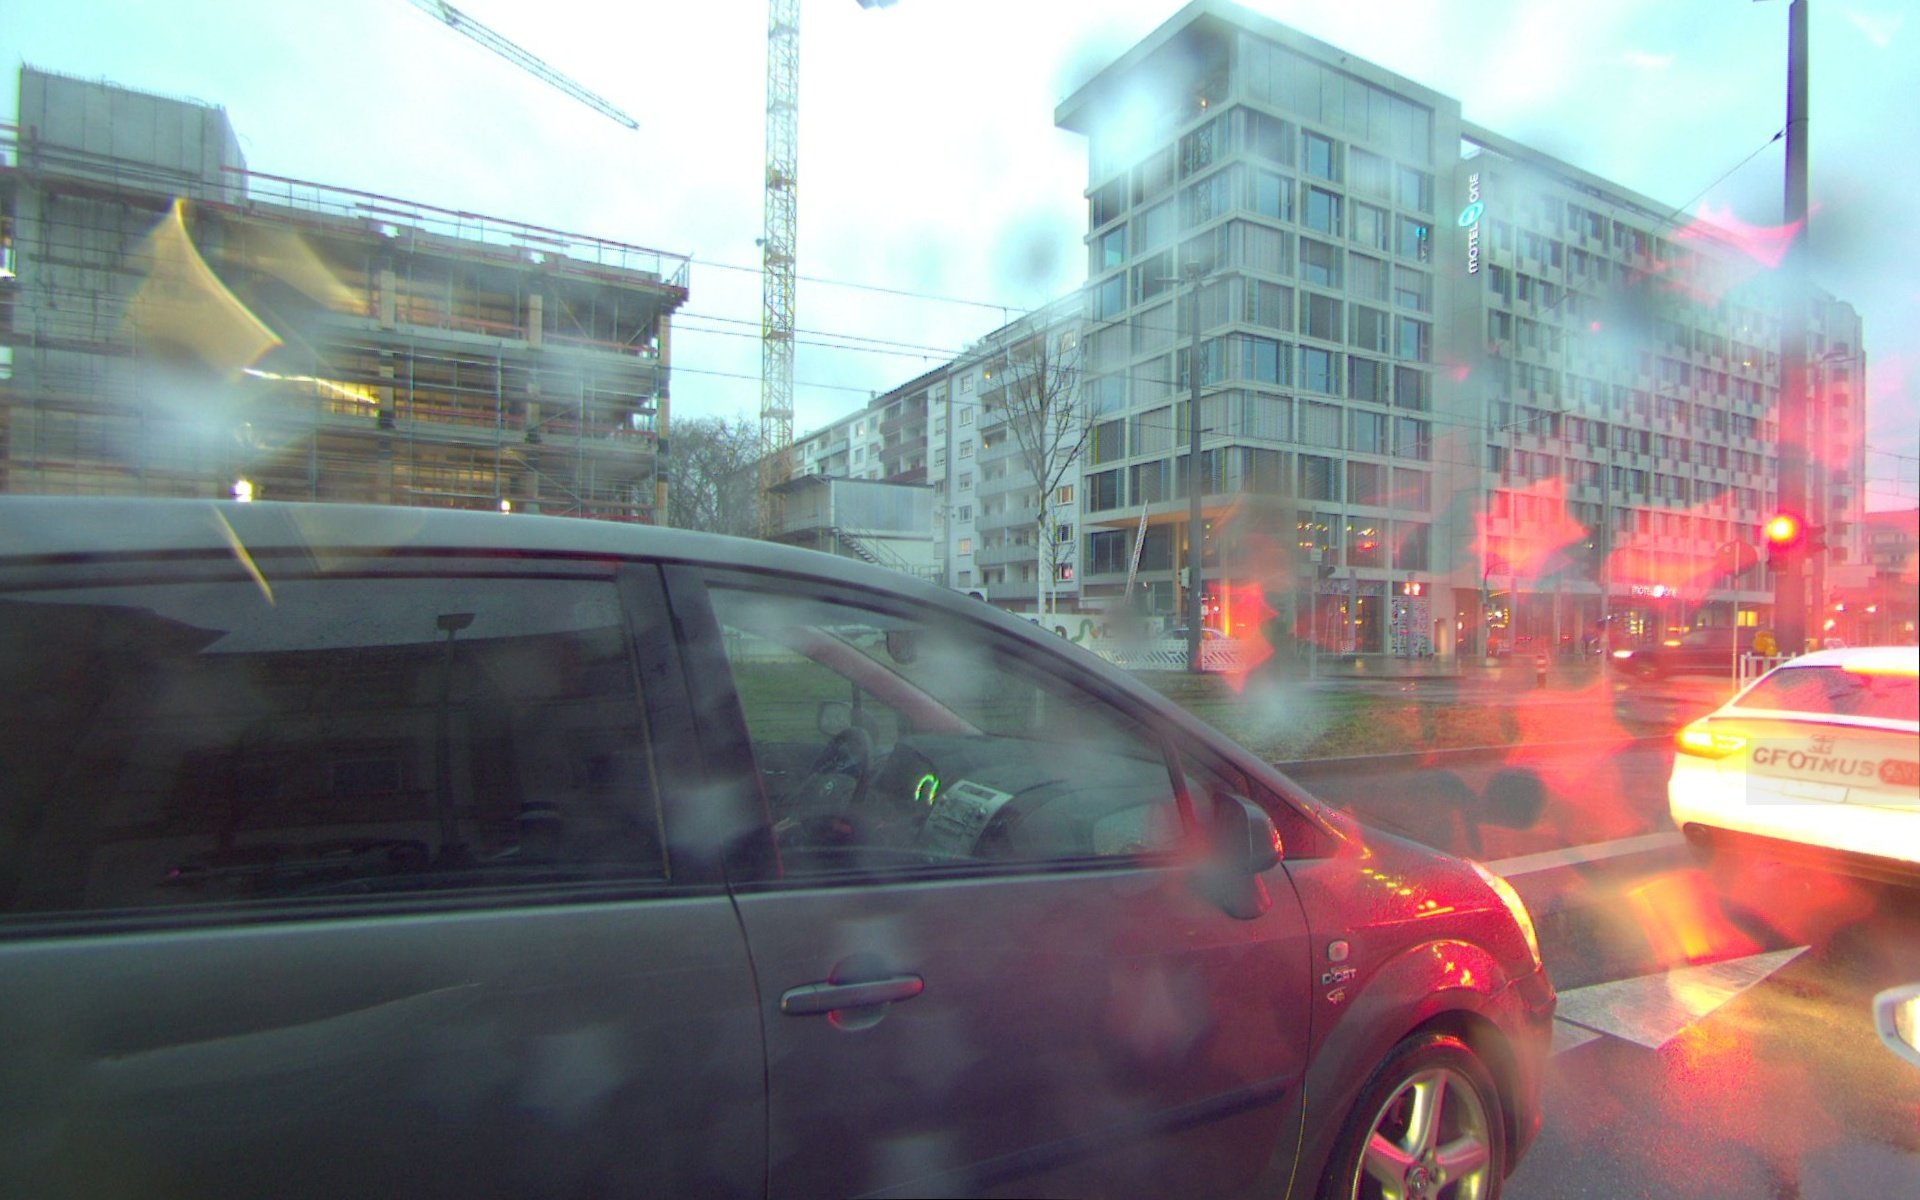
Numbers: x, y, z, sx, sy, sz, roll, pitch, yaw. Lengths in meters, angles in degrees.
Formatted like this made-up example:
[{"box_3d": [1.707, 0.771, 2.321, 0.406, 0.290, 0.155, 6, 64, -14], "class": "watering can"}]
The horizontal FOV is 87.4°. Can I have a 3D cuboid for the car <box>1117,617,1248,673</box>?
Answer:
[{"box_3d": [7.370, 1.471, 33.537, 3.921, 1.644, 1.719, 2, 0, 0], "class": "car"}]

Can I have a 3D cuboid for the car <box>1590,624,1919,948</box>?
[{"box_3d": [6.057, 0.925, 6.225, 4.320, 1.475, 1.983, 1, 0, -32], "class": "car"}]

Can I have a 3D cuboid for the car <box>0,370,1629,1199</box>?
[{"box_3d": [-0.568, 0.649, 2.130, 4.089, 1.668, 1.801, 1, 0, -32], "class": "car"}]

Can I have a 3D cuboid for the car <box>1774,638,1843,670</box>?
[{"box_3d": [44.994, 2.878, 53.257, 3.654, 1.527, 1.666, 3, 0, -31], "class": "car"}]

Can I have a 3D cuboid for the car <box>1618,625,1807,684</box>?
[{"box_3d": [21.528, 1.521, 28.841, 1.825, 1.460, 4.057, 3, -1, -41], "class": "car"}]

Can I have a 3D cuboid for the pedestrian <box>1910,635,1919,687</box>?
[{"box_3d": [32.792, 2.091, 34.045, 0.808, 1.734, 0.782, 2, 0, -45], "class": "pedestrian"}]

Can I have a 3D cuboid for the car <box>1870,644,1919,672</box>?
[{"box_3d": [56.176, 3.457, 59.981, 3.654, 1.527, 1.666, 3, 0, -31], "class": "car"}]

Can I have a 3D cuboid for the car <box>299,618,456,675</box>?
[{"box_3d": [-16.876, 1.353, 29.273, 3.643, 1.497, 1.621, 2, 0, -19], "class": "car"}]

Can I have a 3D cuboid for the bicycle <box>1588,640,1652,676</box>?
[{"box_3d": [23.785, 2.067, 36.265, 0.798, 1.103, 2.677, 2, 0, 7], "class": "bicycle"}]

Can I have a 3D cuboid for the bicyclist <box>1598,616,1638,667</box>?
[{"box_3d": [23.826, 1.498, 36.378, 0.797, 1.782, 0.976, 2, 0, 6], "class": "bicyclist"}]
